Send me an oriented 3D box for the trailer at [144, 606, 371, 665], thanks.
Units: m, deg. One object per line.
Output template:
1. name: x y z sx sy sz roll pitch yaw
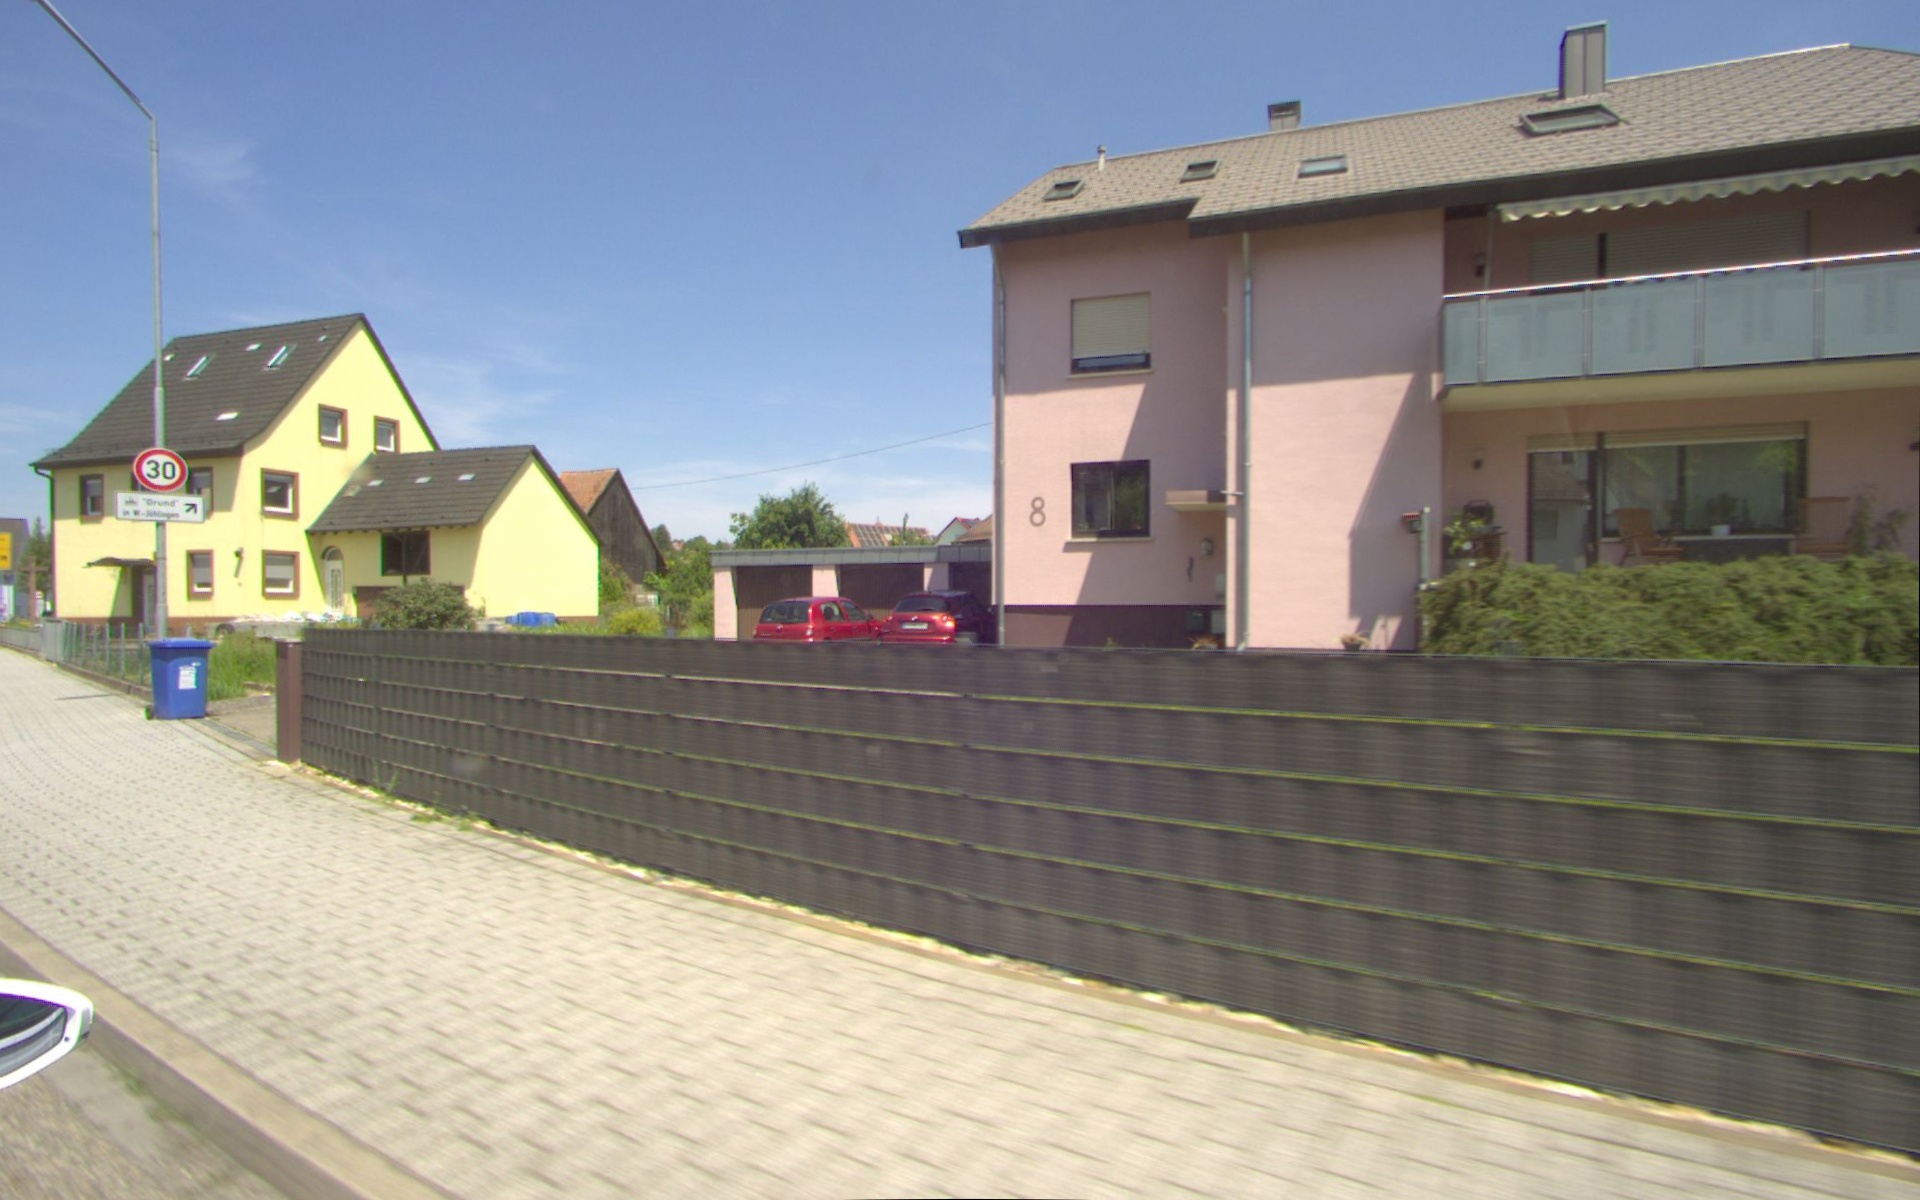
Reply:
1. trailer: -20.479 1.031 29.555 2.099 1.566 5.359 0 -2 16

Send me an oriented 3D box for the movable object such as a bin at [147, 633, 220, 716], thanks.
1. movable object such as a bin: -10.463 0.985 13.491 0.641 1.071 0.564 0 0 29

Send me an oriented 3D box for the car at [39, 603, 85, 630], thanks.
1. car: -69.323 1.275 77.384 1.974 1.936 4.299 1 -3 -33

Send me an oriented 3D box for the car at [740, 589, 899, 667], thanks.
1. car: -2.882 0.533 21.410 1.731 1.506 3.827 0 1 21

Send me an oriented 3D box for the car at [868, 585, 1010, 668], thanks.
1. car: -0.322 0.548 21.219 1.817 1.568 4.120 0 -1 17

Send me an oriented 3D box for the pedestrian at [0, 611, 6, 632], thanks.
1. pedestrian: -95.893 2.124 99.912 0.759 2.040 0.973 1 -1 -25
